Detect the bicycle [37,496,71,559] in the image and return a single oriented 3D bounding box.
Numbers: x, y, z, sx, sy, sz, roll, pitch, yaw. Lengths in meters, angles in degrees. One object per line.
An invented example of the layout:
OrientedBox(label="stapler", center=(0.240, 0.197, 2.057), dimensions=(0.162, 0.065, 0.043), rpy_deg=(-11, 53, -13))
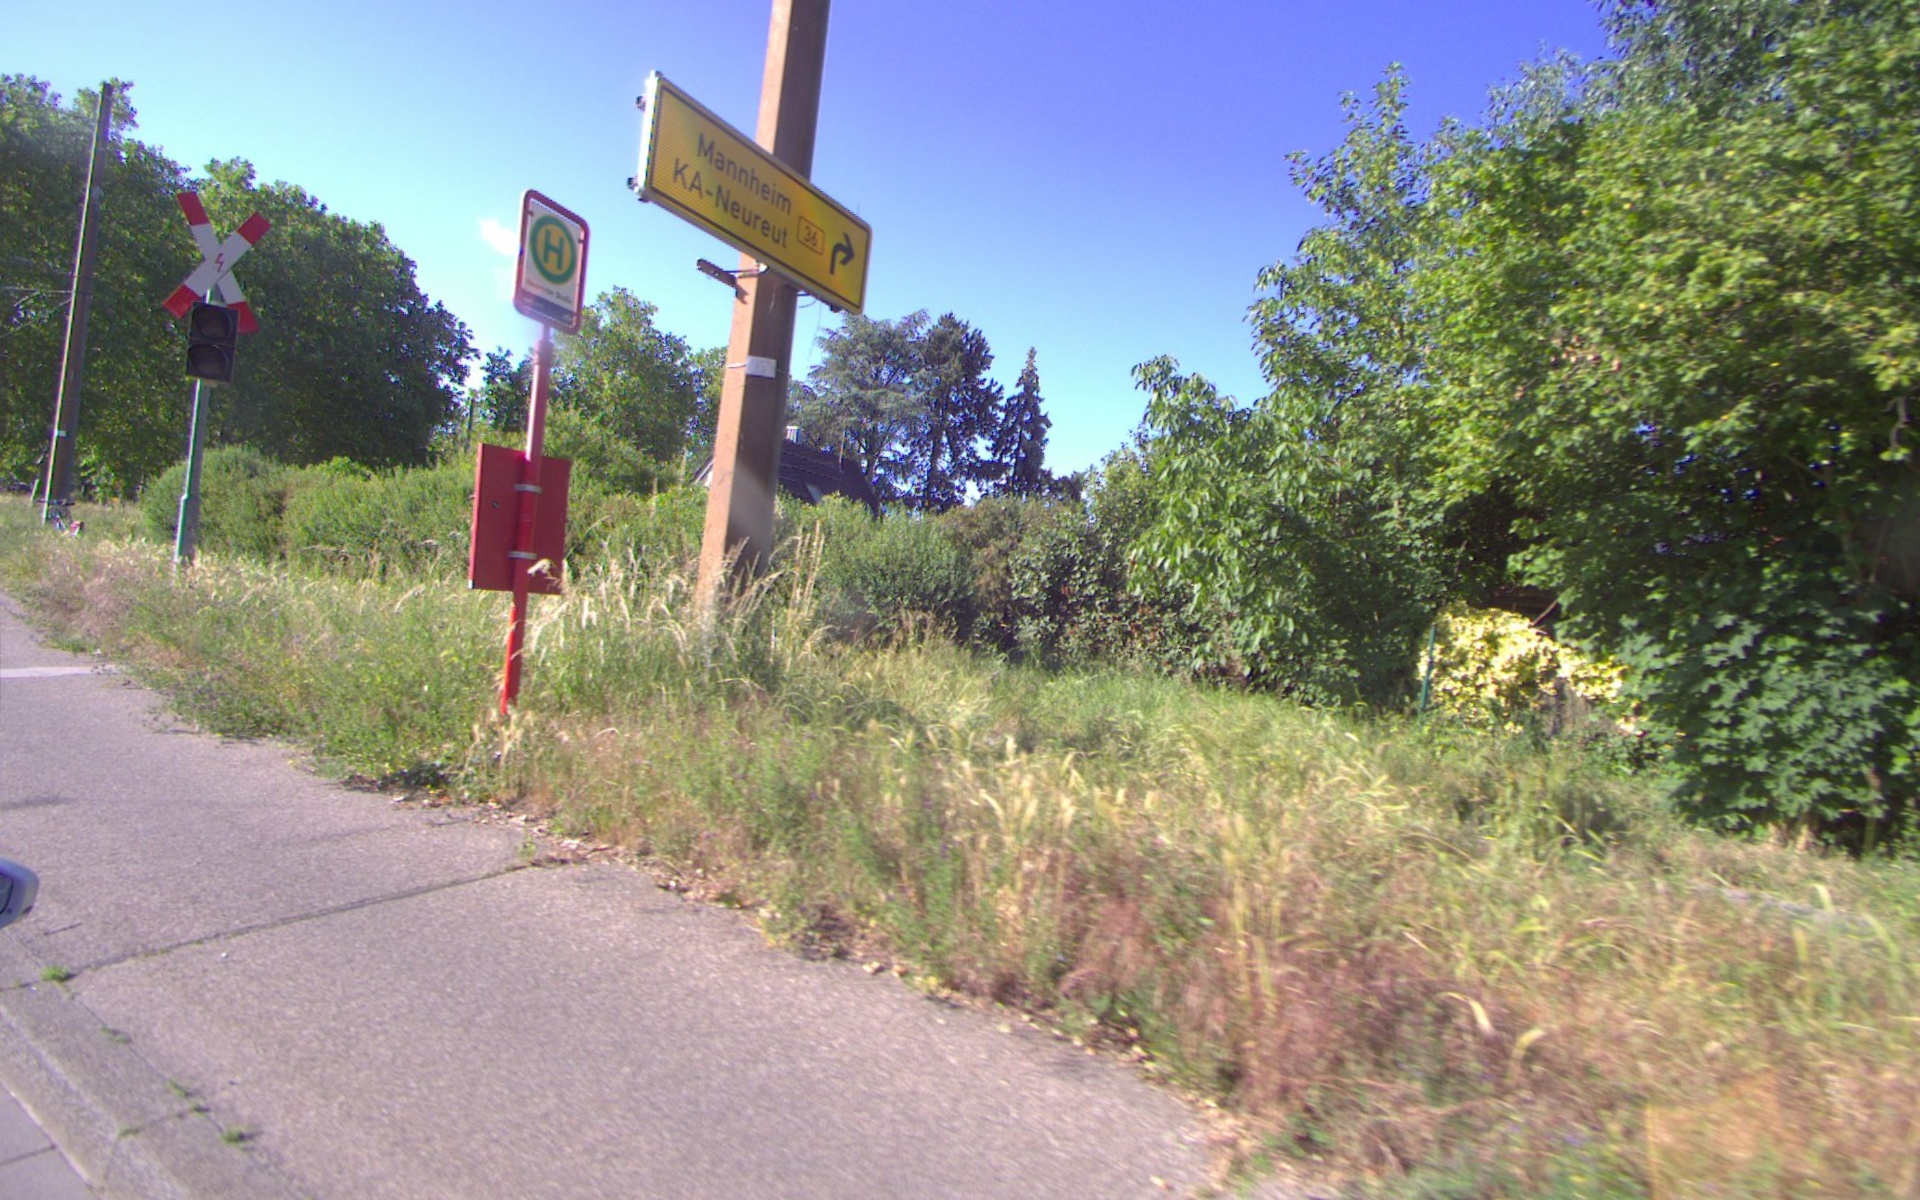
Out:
OrientedBox(label="bicycle", center=(-18.126, -1.474, 20.113), dimensions=(0.364, 1.149, 2.070), rpy_deg=(7, 0, -43))
